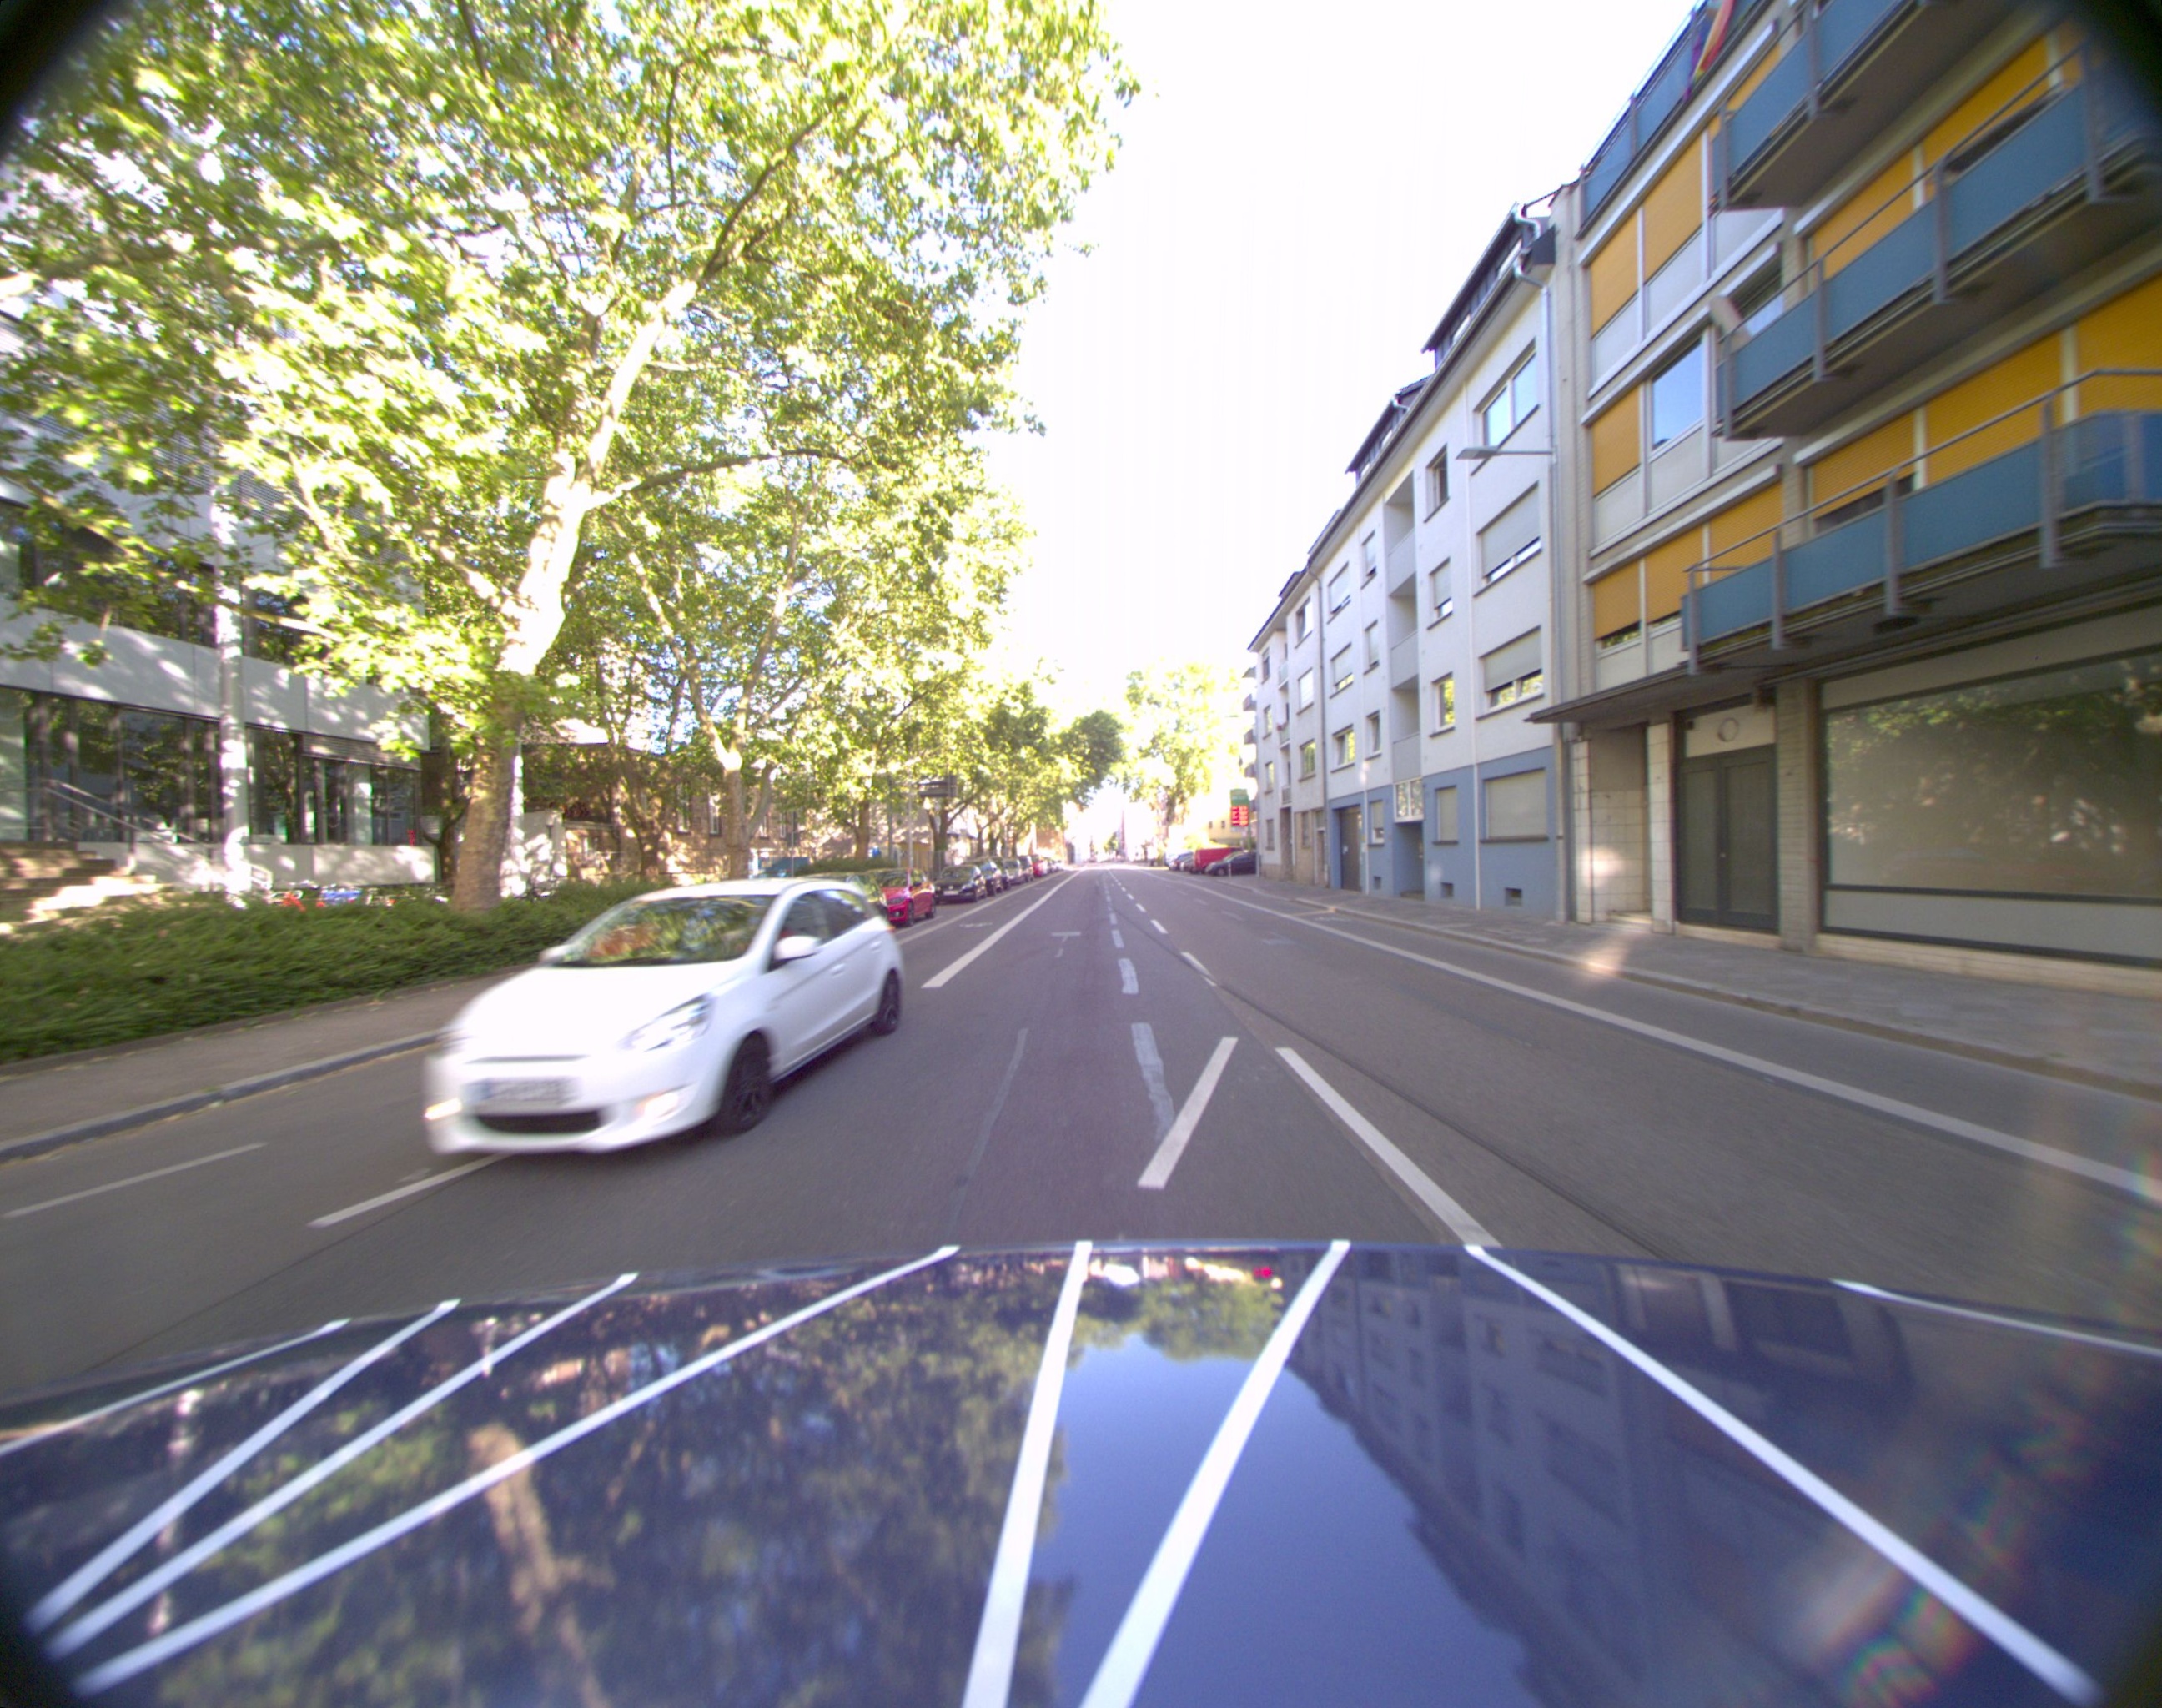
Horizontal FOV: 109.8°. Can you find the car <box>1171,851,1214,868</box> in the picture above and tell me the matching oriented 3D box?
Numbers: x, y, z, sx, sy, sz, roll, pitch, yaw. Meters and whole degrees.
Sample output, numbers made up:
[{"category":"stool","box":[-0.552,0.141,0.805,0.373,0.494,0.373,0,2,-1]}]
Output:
[{"category":"car","box":[10.979,0.529,75.106,3.997,1.424,1.853,-3,0,1]}]

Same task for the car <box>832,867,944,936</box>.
[{"category":"car","box":[-4.991,1.176,20.313,1.697,1.470,4.318,-4,0,1]}]

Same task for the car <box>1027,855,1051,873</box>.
[{"category":"car","box":[-3.743,0.899,68.022,1.641,1.476,3.760,-4,0,3]}]

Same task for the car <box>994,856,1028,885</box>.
[{"category":"car","box":[-4.309,0.989,47.354,1.697,1.618,4.329,-4,0,-1]}]

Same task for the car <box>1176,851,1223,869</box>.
[{"category":"car","box":[10.783,0.519,69.493,3.997,1.447,1.916,-3,0,1]}]

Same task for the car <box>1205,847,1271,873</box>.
[{"category":"car","box":[11.072,0.421,53.692,4.183,1.554,1.886,-4,0,2]}]

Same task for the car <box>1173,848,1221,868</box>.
[{"category":"car","box":[11.020,0.388,72.571,4.204,1.674,2.028,-3,0,1]}]

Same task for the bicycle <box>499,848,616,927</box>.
[{"category":"bicycle","box":[-13.991,0.882,20.346,2.604,2.002,0.742,-1,1,1]}]

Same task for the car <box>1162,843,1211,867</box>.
[{"category":"car","box":[11.342,0.110,81.831,4.856,2.204,2.140,-3,0,1]}]

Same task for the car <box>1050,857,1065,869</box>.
[{"category":"car","box":[-3.060,1.146,99.384,1.860,1.428,4.969,-2,0,-2]}]

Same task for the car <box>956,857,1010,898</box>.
[{"category":"car","box":[-4.427,1.036,34.828,1.780,1.618,4.620,-4,0,0]}]

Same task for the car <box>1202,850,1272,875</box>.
[{"category":"car","box":[10.495,0.566,51.292,4.239,1.372,2.046,-3,1,2]}]

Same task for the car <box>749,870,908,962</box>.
[{"category":"car","box":[-5.033,1.164,15.756,1.697,1.458,4.066,-4,0,2]}]

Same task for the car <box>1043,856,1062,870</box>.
[{"category":"car","box":[-3.292,1.063,88.987,1.860,1.514,4.297,-3,0,1]}]

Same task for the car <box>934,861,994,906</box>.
[{"category":"car","box":[-4.489,1.104,29.630,1.697,1.495,4.019,-4,0,-1]}]

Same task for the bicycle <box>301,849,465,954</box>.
[{"category":"bicycle","box":[-14.060,0.936,15.342,2.604,2.002,0.742,-1,1,1]}]

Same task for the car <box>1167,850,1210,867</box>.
[{"category":"car","box":[10.909,0.460,77.235,3.997,1.550,1.853,-3,0,1]}]

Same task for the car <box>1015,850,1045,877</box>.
[{"category":"car","box":[-4.165,0.741,63.229,2.083,1.982,5.171,-3,0,-1]}]

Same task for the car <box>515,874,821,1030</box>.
[{"category":"car","box":[-5.177,1.112,10.350,1.697,1.441,4.435,-4,0,-1]}]

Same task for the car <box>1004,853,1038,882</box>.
[{"category":"car","box":[-4.031,0.892,51.824,1.697,1.802,4.130,-4,0,3]}]

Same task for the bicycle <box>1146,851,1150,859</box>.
[{"category":"bicycle","box":[11.664,0.181,132.743,0.608,1.232,2.050,0,0,1]}]

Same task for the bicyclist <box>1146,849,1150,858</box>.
[{"category":"bicyclist","box":[11.693,-0.106,133.157,0.608,1.535,0.934,0,0,1]}]

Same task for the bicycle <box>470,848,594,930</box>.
[{"category":"bicycle","box":[-14.019,0.892,19.446,2.604,2.002,0.742,-1,1,1]}]

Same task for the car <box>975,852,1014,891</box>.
[{"category":"car","box":[-4.612,0.888,40.561,1.830,1.830,4.896,-4,0,-7]}]

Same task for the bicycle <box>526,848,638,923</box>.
[{"category":"bicycle","box":[-13.939,0.869,21.275,2.604,2.002,0.742,-1,1,1]}]

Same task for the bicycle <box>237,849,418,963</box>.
[{"category":"bicycle","box":[-14.014,0.945,14.173,2.604,2.002,0.742,-1,1,1]}]

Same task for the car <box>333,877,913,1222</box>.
[{"category":"car","box":[-2.674,1.032,5.556,1.682,1.490,3.686,-3,1,5]}]

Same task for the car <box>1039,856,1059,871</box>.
[{"category":"car","box":[-3.448,0.989,83.101,1.860,1.513,4.599,-3,0,1]}]

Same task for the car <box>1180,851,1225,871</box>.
[{"category":"car","box":[10.729,0.588,67.218,3.694,1.504,1.831,-4,0,1]}]

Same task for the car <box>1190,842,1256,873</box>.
[{"category":"car","box":[10.554,0.230,56.574,4.432,1.940,2.146,-4,0,2]}]

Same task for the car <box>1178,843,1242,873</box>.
[{"category":"car","box":[10.041,0.306,59.397,4.533,1.940,2.057,-4,0,2]}]

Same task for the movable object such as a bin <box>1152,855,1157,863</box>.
[{"category":"movable object such as a bin","box":[10.827,0.746,111.811,0.595,1.065,0.644,-1,1,2]}]
